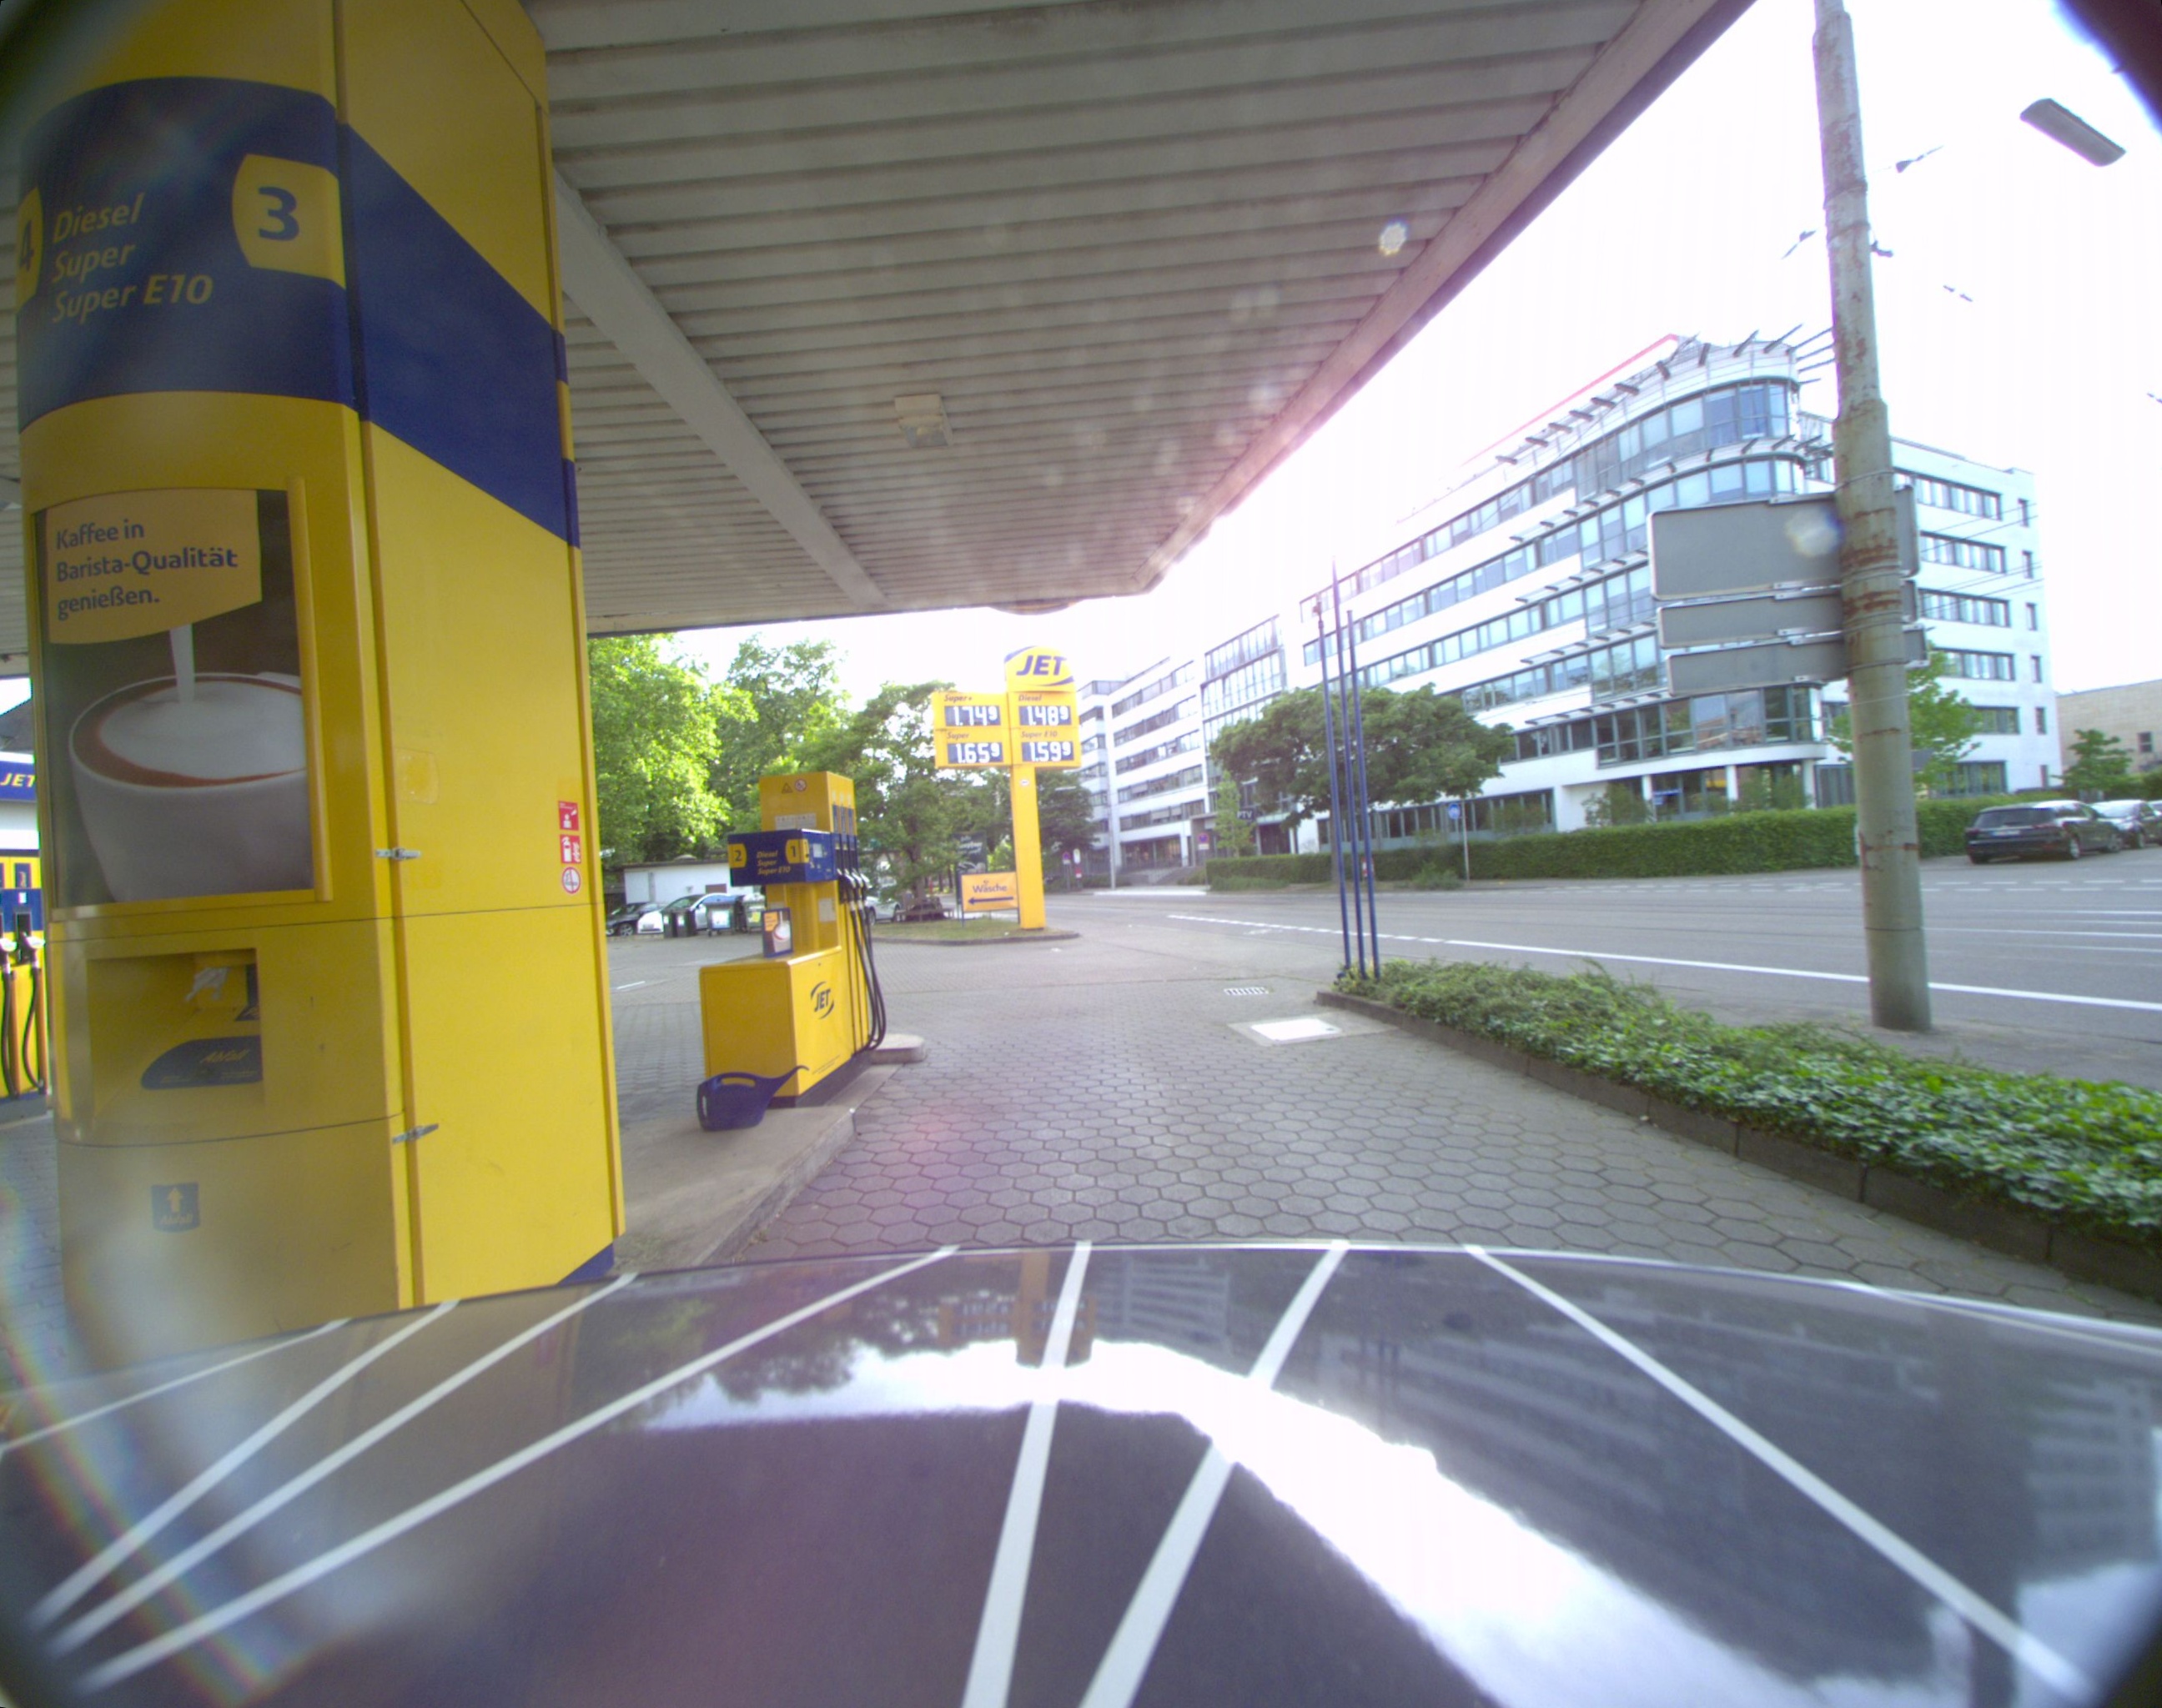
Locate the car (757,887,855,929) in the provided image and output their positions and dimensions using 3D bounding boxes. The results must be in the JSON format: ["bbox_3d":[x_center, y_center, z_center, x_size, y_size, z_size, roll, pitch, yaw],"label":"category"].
[{"bbox_3d":[-11.644,2.262,32.496,1.771,1.591,4.400,-4,-4,13],"label":"car"}]

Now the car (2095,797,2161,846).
[{"bbox_3d":[37.138,-1.196,26.143,4.296,1.509,1.945,-4,-1,-27],"label":"car"}]

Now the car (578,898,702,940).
[{"bbox_3d":[-17.784,2.585,30.912,1.771,1.367,4.398,-2,-1,14],"label":"car"}]

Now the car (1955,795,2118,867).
[{"bbox_3d":[27.284,-0.664,21.690,4.296,1.681,2.010,-4,-1,-27],"label":"car"}]

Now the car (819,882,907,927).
[{"bbox_3d":[-8.626,1.998,30.505,1.772,1.591,4.398,-4,-3,6],"label":"car"}]

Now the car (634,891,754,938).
[{"bbox_3d":[-15.282,2.360,30.318,1.771,1.591,4.398,-2,-1,14],"label":"car"}]

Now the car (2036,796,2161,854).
[{"bbox_3d":[32.555,-0.940,24.091,4.296,1.530,1.945,-4,-1,-27],"label":"car"}]
